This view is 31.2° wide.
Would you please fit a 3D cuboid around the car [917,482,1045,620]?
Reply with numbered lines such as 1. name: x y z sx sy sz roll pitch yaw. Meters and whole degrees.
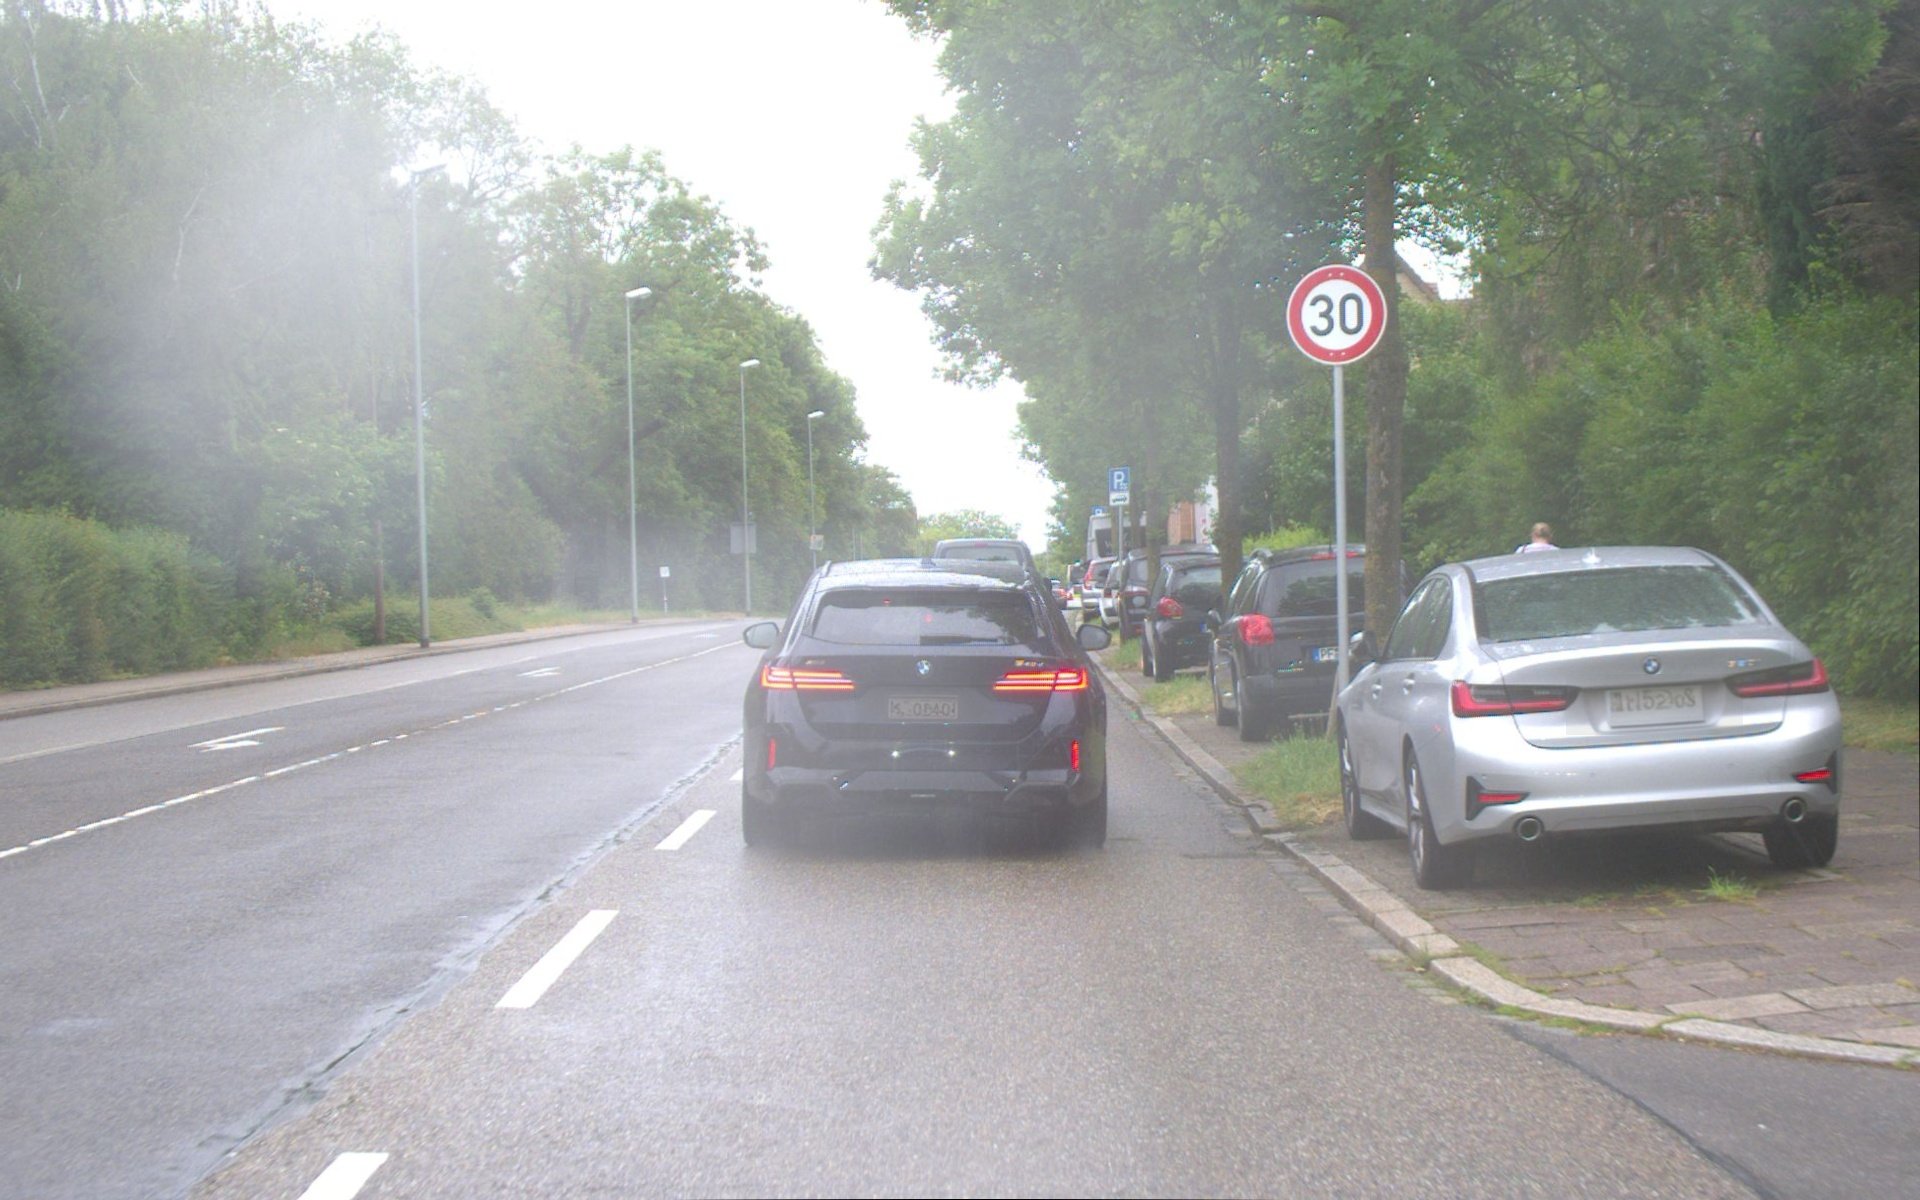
1. car: 0.261 -0.715 48.627 1.629 1.827 4.001 -2 1 -1

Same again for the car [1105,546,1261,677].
1. car: 2.679 0.102 41.887 1.589 1.481 3.562 -1 1 -1

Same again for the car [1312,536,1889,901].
1. car: 2.833 0.446 16.201 1.935 1.437 4.408 -1 1 1

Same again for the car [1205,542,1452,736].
1. car: 2.977 0.272 28.367 1.589 1.456 3.562 -1 1 -1

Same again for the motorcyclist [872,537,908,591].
1. motorcyclist: -2.058 -1.051 100.686 1.039 1.562 0.855 1 0 -2

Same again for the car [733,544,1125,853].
1. car: -0.170 0.452 18.880 1.897 1.484 4.000 1 1 0
